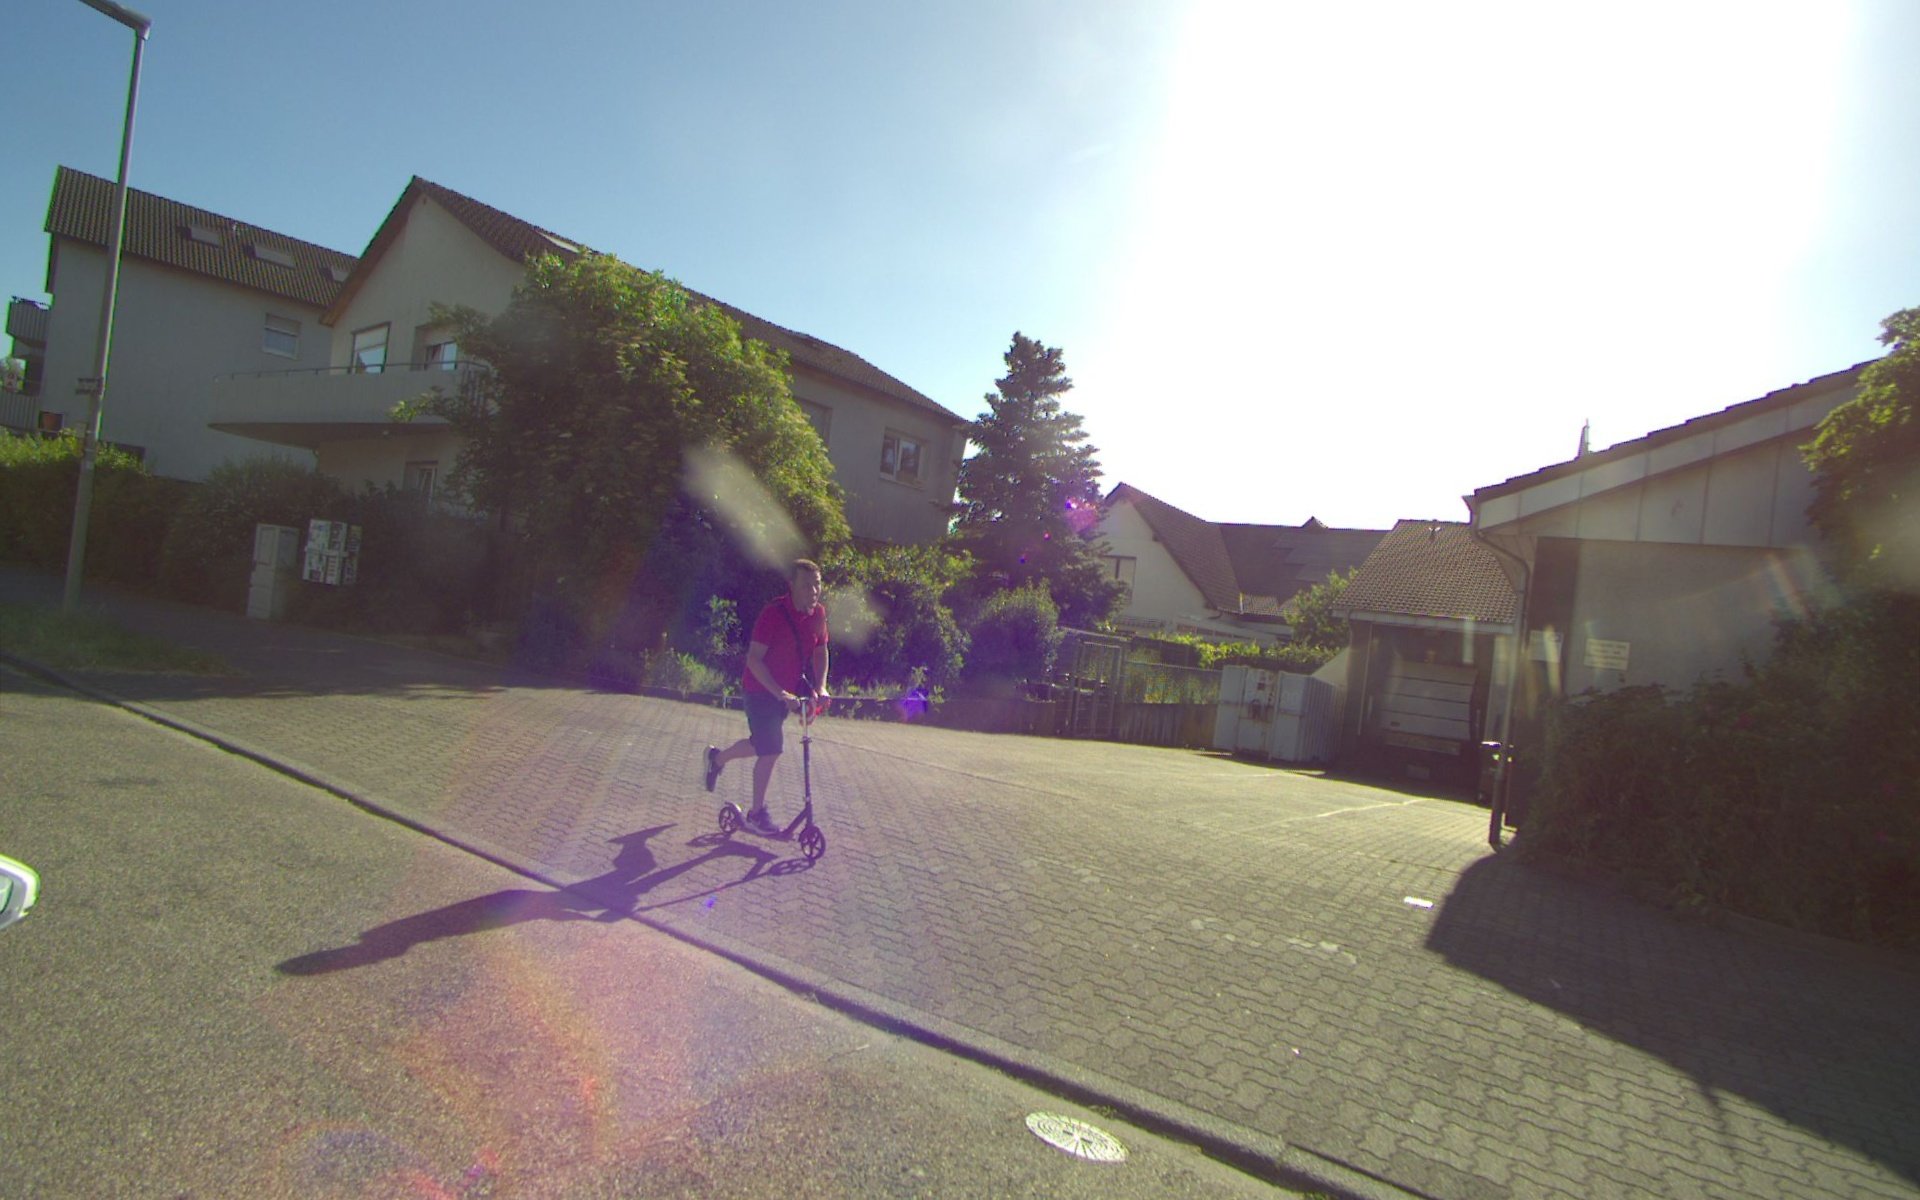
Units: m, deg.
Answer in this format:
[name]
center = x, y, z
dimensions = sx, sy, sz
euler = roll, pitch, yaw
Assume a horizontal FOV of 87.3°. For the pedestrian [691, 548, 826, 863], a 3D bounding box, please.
[pedestrian]
center = -1.261, 0.635, 6.308
dimensions = 0.478, 1.856, 0.484
euler = 7, 3, 31
